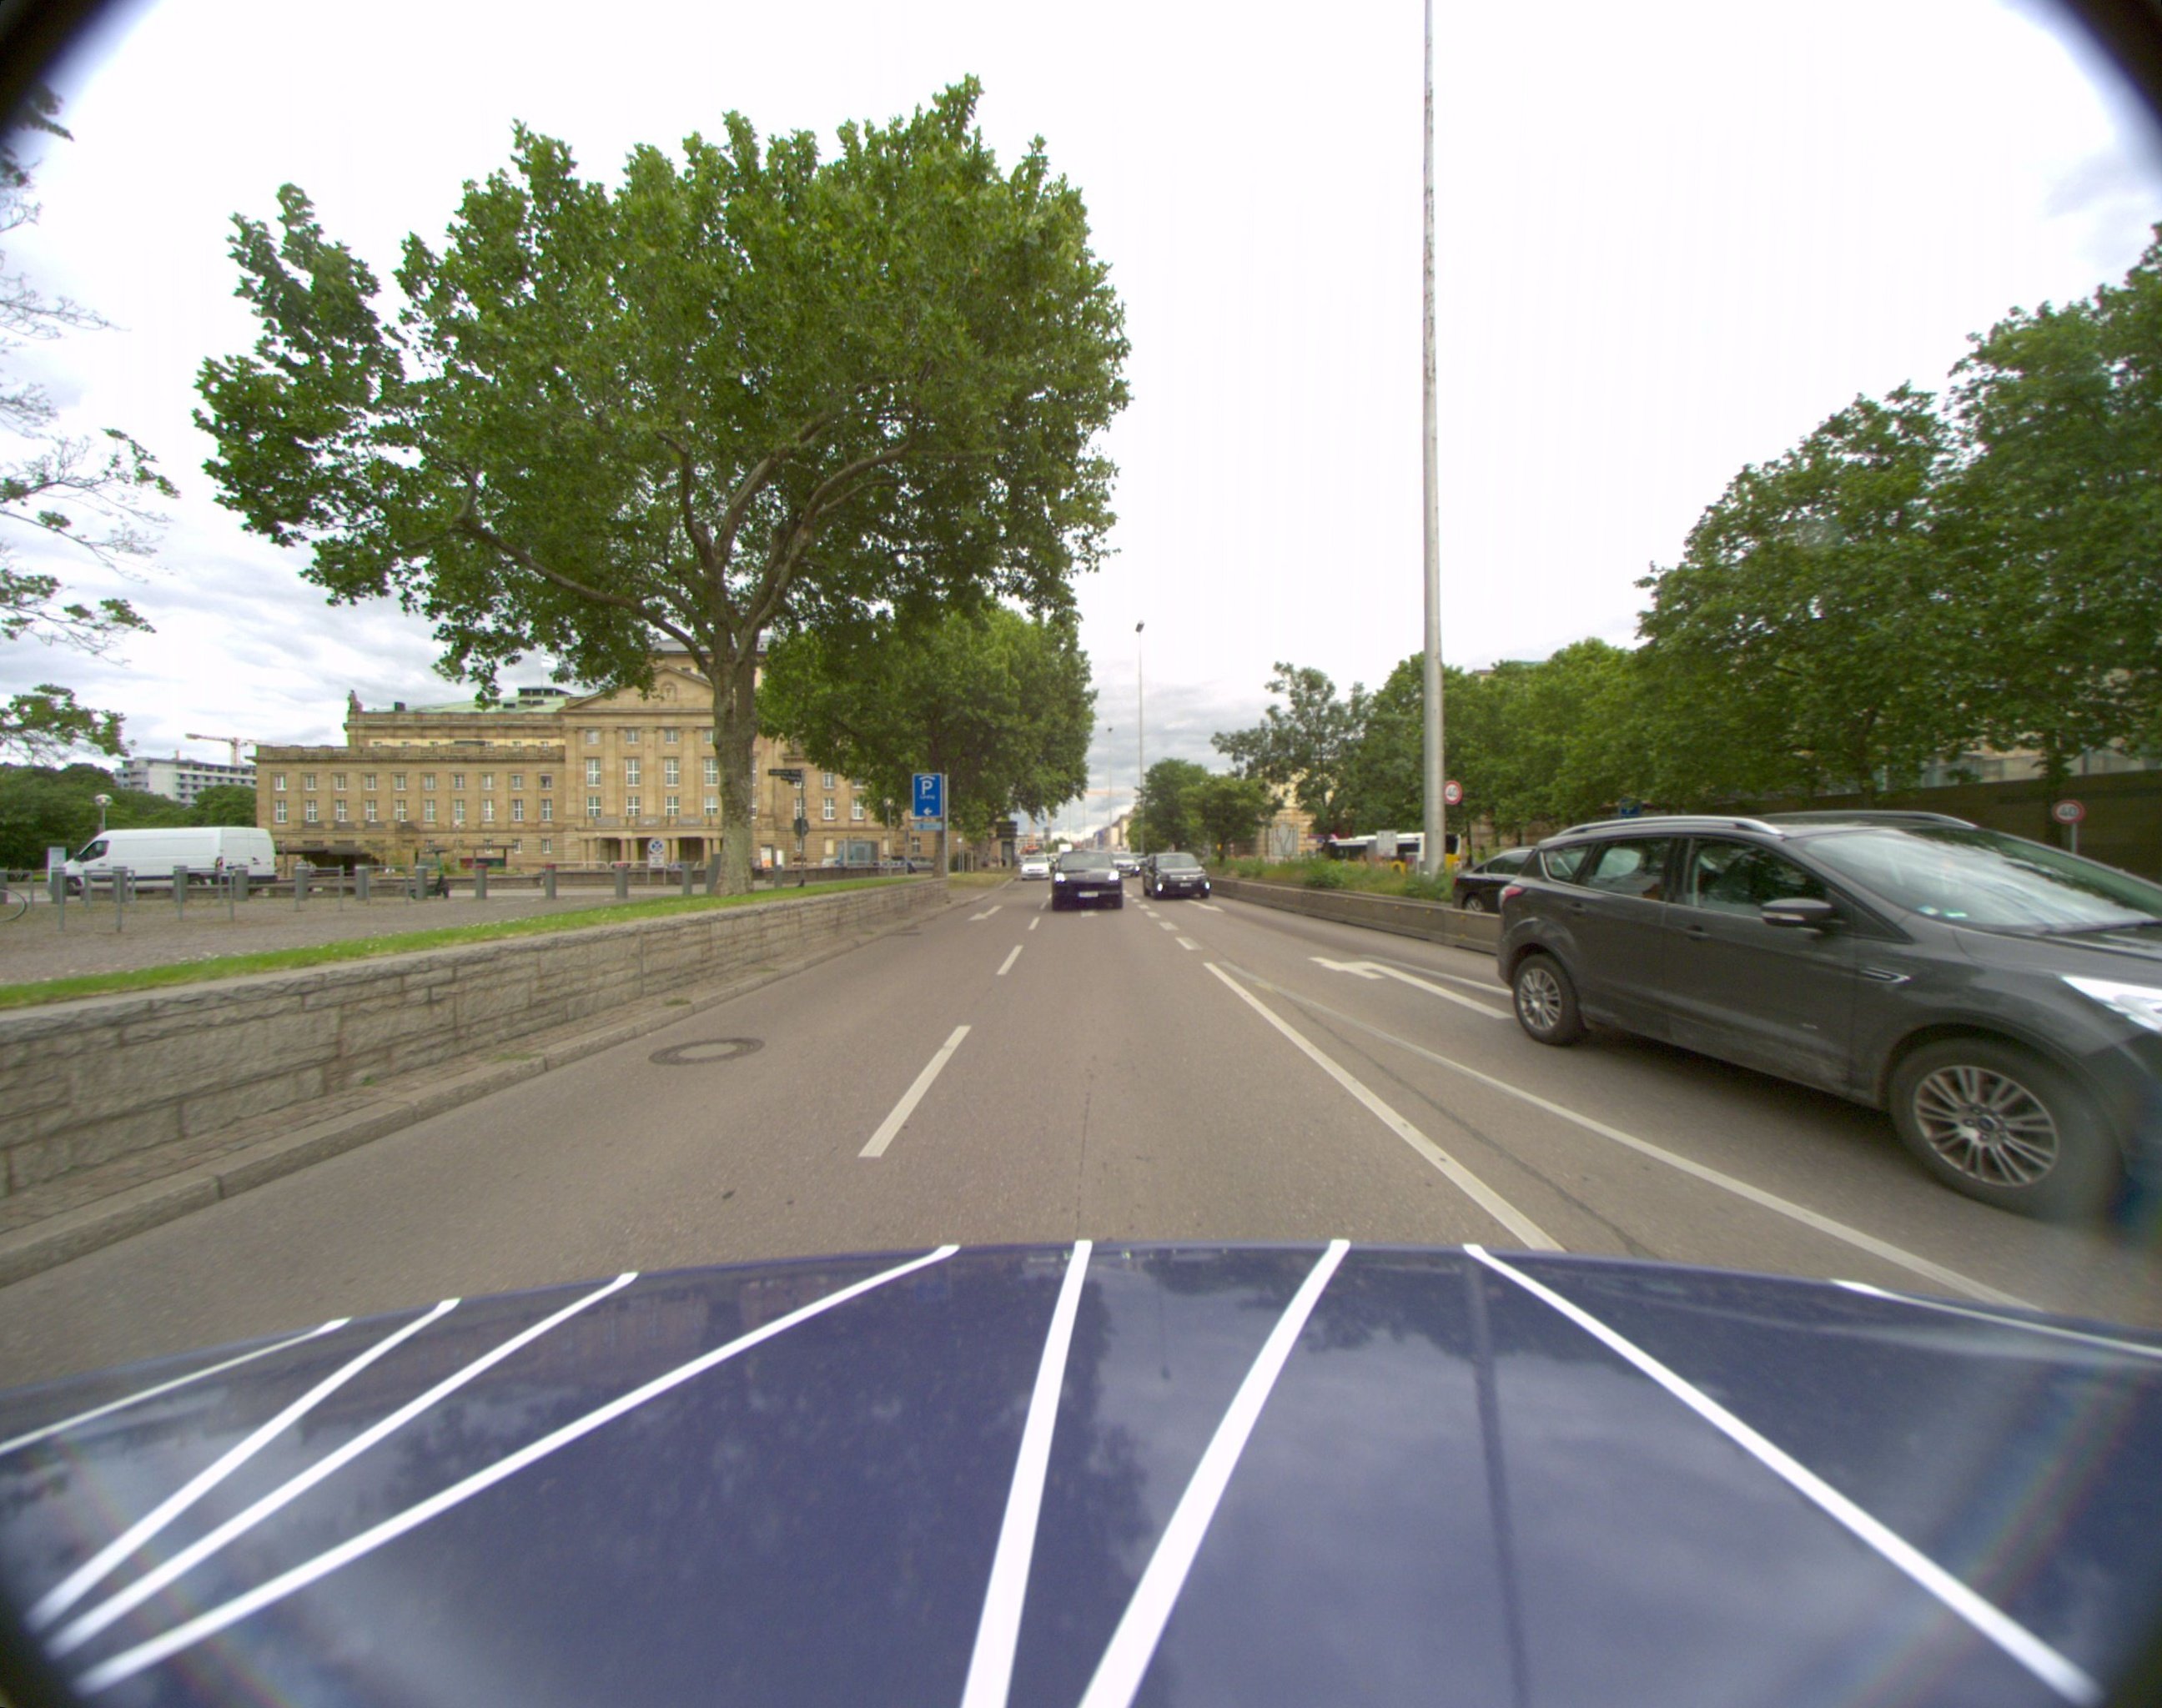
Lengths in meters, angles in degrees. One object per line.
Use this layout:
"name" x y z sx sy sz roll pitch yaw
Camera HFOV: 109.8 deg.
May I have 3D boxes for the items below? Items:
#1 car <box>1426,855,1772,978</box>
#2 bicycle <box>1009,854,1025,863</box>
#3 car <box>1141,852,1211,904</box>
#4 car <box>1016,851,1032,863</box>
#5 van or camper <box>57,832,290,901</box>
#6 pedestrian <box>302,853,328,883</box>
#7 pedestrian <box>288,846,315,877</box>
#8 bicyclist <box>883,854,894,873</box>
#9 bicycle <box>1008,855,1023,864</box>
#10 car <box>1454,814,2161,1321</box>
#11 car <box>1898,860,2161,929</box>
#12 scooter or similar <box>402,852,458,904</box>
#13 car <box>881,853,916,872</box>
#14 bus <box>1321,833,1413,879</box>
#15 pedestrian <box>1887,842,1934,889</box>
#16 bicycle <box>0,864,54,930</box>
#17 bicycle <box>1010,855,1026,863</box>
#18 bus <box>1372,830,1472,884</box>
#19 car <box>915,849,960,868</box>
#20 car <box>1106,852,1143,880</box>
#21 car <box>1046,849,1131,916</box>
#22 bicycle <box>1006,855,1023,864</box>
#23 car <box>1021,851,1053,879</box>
"car" 7.538 0.778 11.841 1.999 1.474 4.808 -1 0 -2
"bicycle" -8.119 0.539 96.798 1.939 1.126 0.540 -1 1 -21
"car" 3.160 0.745 25.904 1.767 1.507 4.151 -2 1 -1
"car" -7.955 0.398 106.444 1.843 1.522 3.999 -1 1 1
"van or camper" -33.905 0.402 28.536 5.712 2.307 2.319 -2 2 -1
"pedestrian" -52.007 0.944 51.604 0.766 2.002 0.816 -3 2 9
"pedestrian" -52.995 0.491 51.666 0.857 2.002 0.816 -3 2 8
"bicyclist" -20.139 0.995 79.461 0.879 2.002 0.842 -4 2 -27
"bicycle" -8.027 0.661 93.375 1.841 1.066 0.618 -1 1 -9
"car" 4.426 0.694 4.449 1.899 1.705 4.656 -2 0 -4
"car" 21.698 0.845 17.374 1.730 1.364 4.000 0 0 0
"scooter or similar" -16.216 0.583 18.954 0.718 1.239 0.728 -1 1 -2
"car" -14.595 0.697 60.990 1.768 1.508 4.218 -1 -1 1
"bus" 22.113 0.106 59.538 2.920 3.286 10.446 -1 0 -2
"pedestrian" 33.378 0.445 30.597 0.723 1.844 0.987 1 1 -2
"bicycle" -19.975 0.763 13.612 2.197 1.135 0.685 0 1 0
"bicycle" -7.883 0.619 95.233 1.843 1.066 0.531 -1 1 -21
"bus" 22.389 0.177 50.466 2.931 3.284 7.704 -1 1 -2
"car" -13.897 0.412 73.632 3.998 1.587 1.734 -3 1 -3
"car" 2.770 0.736 49.600 1.999 1.607 4.737 -1 1 -1
"car" 0.098 0.740 22.458 2.062 1.616 4.599 -3 1 -4
"bicycle" -8.125 0.643 92.695 1.919 1.092 0.541 -1 1 -9
"car" -2.828 0.702 49.663 1.696 1.585 3.999 -3 1 1
